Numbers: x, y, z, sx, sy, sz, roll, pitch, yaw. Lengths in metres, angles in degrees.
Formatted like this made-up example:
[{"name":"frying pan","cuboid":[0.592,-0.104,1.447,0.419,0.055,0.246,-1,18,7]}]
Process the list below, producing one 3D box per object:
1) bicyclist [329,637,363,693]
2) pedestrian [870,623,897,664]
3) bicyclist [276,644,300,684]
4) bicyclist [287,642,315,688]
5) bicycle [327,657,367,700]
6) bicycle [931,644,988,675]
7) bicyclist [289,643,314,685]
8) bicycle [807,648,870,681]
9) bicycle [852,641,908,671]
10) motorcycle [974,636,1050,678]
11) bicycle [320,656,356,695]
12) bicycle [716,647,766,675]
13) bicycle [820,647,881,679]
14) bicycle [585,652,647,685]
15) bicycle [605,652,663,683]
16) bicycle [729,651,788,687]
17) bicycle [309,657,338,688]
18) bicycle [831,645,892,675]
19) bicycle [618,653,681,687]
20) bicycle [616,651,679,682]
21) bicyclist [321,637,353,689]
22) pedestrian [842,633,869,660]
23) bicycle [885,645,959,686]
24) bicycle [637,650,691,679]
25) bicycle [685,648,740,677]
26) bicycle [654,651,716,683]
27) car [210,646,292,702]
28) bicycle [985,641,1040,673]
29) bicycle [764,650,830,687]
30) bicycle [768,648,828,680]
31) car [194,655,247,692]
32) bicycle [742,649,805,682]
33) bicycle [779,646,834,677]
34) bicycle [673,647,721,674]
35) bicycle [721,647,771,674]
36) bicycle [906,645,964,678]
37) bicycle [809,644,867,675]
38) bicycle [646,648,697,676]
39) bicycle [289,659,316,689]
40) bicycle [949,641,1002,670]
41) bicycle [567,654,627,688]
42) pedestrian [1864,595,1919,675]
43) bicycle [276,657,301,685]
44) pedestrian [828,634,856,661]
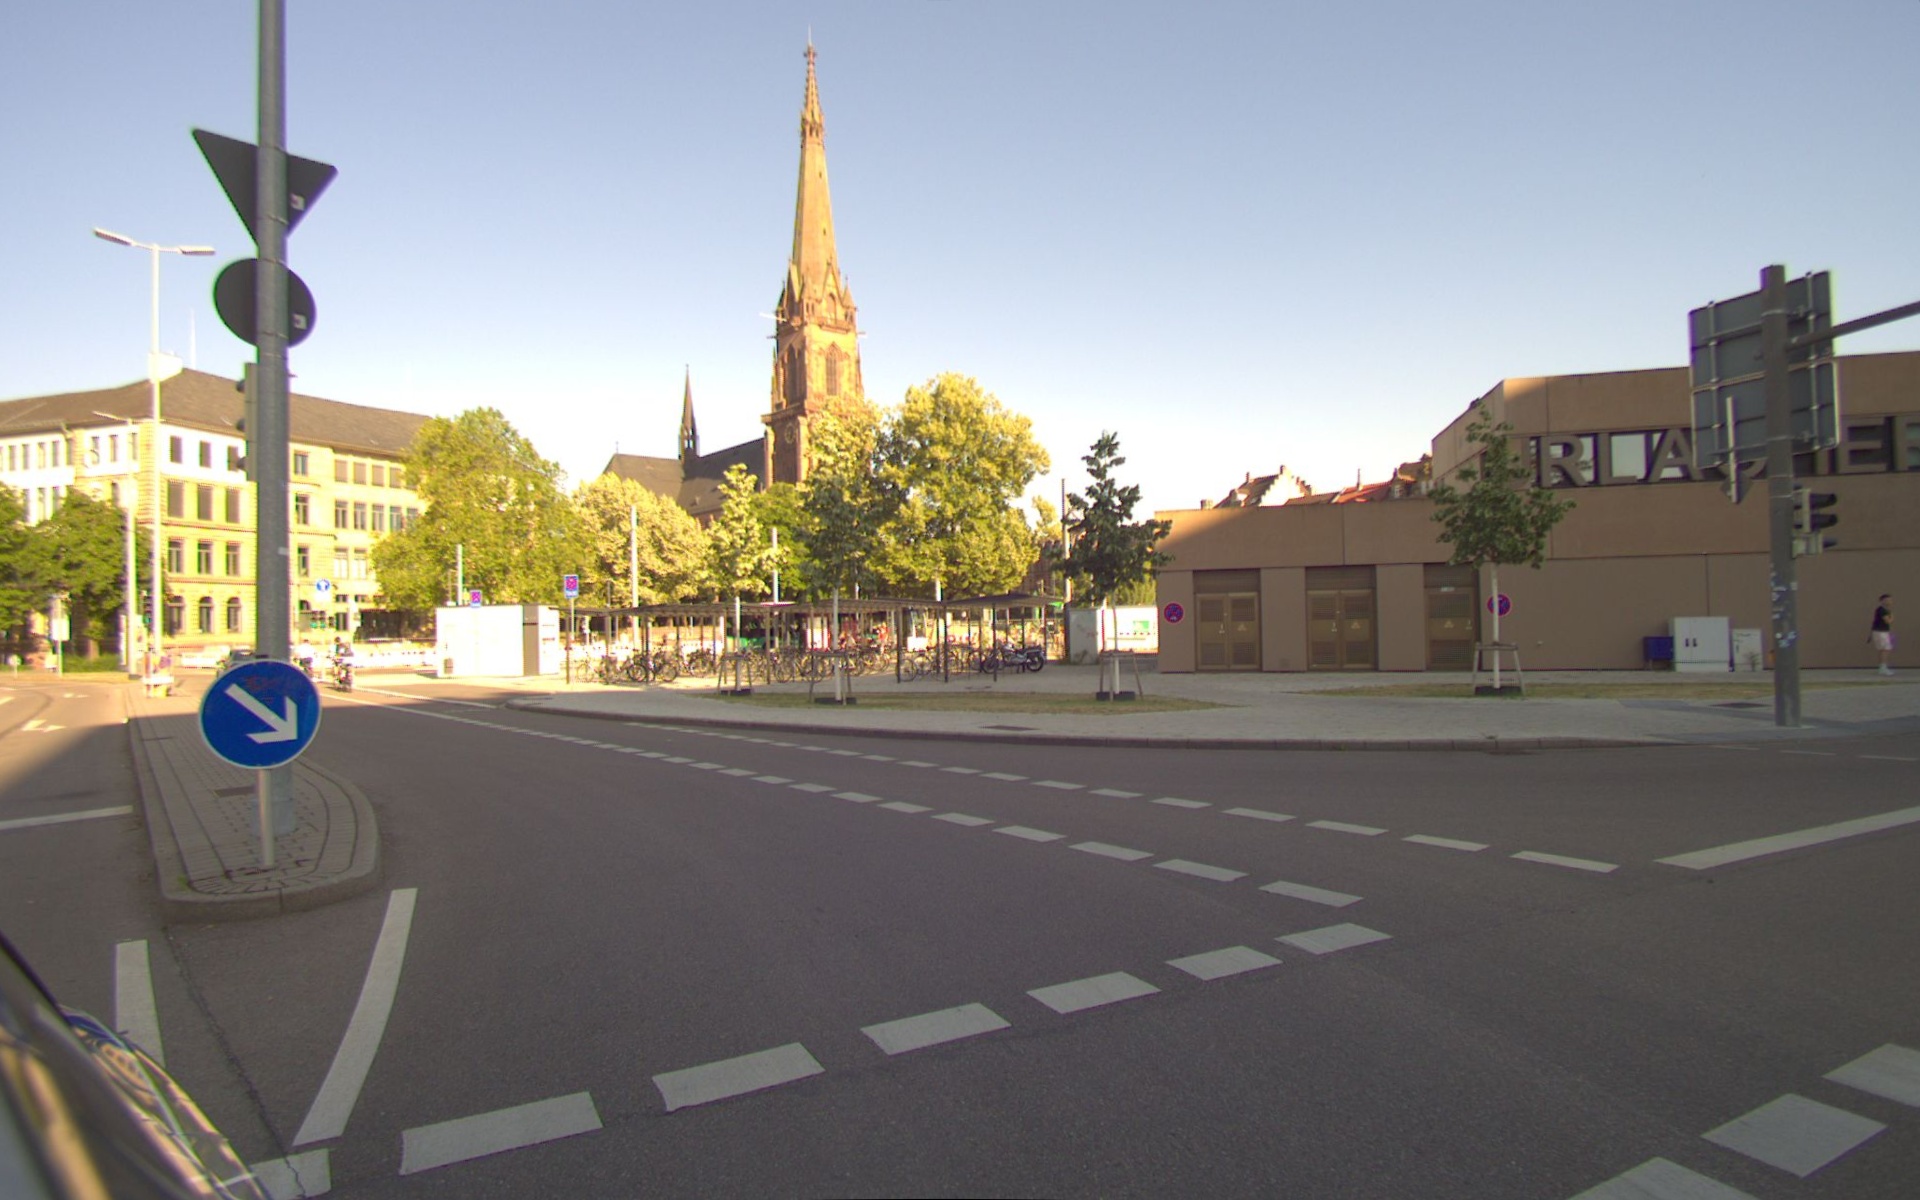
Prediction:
[{"name":"bicyclist","cuboid":[-19.184,2.013,31.597,0.753,1.681,1.064,-2,-1,-38]},{"name":"pedestrian","cuboid":[-3.954,2.249,52.375,1.021,2.029,1.129,-3,0,17]},{"name":"bicyclist","cuboid":[-28.924,2.741,43.576,0.852,1.666,0.947,0,-2,-34]},{"name":"bicyclist","cuboid":[-24.754,2.420,38.017,0.852,1.666,0.947,0,-2,-34]},{"name":"bicycle","cuboid":[-19.159,2.435,31.598,0.753,1.196,2.611,-2,0,-37]},{"name":"bicycle","cuboid":[-0.028,2.089,35.550,1.913,1.051,0.521,-1,0,14]},{"name":"bicyclist","cuboid":[-26.684,2.578,41.014,0.851,1.666,0.947,0,-2,-33]},{"name":"bicycle","cuboid":[-4.071,2.159,33.928,2.015,1.051,0.601,-1,0,15]},{"name":"bicycle","cuboid":[-3.068,2.135,38.852,2.051,1.097,0.564,-1,0,14]},{"name":"motorcycle","cuboid":[1.703,1.859,33.053,2.336,1.257,0.716,-3,0,17]},{"name":"bicycle","cuboid":[-21.029,2.535,34.177,0.753,1.196,2.611,-2,0,-37]},{"name":"bicycle","cuboid":[-8.692,2.419,40.200,1.956,1.062,0.416,-1,0,16]},{"name":"bicycle","cuboid":[-3.787,2.183,35.003,2.017,1.051,0.601,-1,0,18]},{"name":"bicycle","cuboid":[-11.870,2.357,34.935,2.004,1.062,0.679,-1,0,16]},{"name":"bicycle","cuboid":[-11.549,2.388,35.851,1.919,1.062,0.679,-1,0,16]},{"name":"bicycle","cuboid":[-6.424,2.197,32.322,1.780,1.114,0.484,-1,0,9]},{"name":"bicycle","cuboid":[-24.146,2.728,38.362,0.867,1.105,2.194,0,-2,-34]},{"name":"bicycle","cuboid":[-3.555,2.160,36.494,2.087,1.051,0.602,-1,0,13]},{"name":"bicycle","cuboid":[-10.227,2.300,33.357,1.953,1.062,0.565,-1,0,12]},{"name":"bicycle","cuboid":[-11.583,2.451,37.488,2.098,1.062,0.834,-1,0,13]},{"name":"bicyclist","cuboid":[-21.036,2.112,34.165,0.753,1.681,1.064,-2,-1,-38]},{"name":"pedestrian","cuboid":[-5.562,2.457,53.847,1.070,1.359,1.047,-3,0,17]},{"name":"bicycle","cuboid":[-1.139,1.974,30.547,2.102,1.114,0.742,-3,0,11]},{"name":"bicycle","cuboid":[-11.329,2.467,38.767,1.950,1.062,0.510,-1,0,8]},{"name":"bicycle","cuboid":[-9.317,2.363,38.159,1.953,1.062,0.565,-1,0,12]},{"name":"bicycle","cuboid":[-9.621,2.326,35.395,1.955,1.062,0.755,-1,0,15]},{"name":"car","cuboid":[-22.281,2.270,31.763,1.778,1.455,3.985,-1,0,-40]},{"name":"bicycle","cuboid":[1.833,1.978,35.020,1.828,1.051,0.521,-1,0,11]},{"name":"bicycle","cuboid":[-5.093,2.129,31.578,1.955,1.114,0.564,-1,0,15]},{"name":"bicycle","cuboid":[-5.708,2.248,35.695,1.912,1.051,0.764,-1,0,13]},{"name":"car","cuboid":[-29.752,2.923,40.669,1.363,1.348,3.508,0,-2,-42]},{"name":"bicycle","cuboid":[-6.332,2.225,34.369,1.912,1.051,0.863,-1,0,13]},{"name":"bicycle","cuboid":[-5.606,2.246,37.043,1.913,1.097,0.534,-1,0,14]},{"name":"bicycle","cuboid":[-10.634,2.443,40.916,1.956,1.062,0.416,-1,0,16]},{"name":"bicycle","cuboid":[-8.590,2.416,40.613,1.956,1.062,0.416,-1,0,16]},{"name":"bicycle","cuboid":[-0.809,2.026,33.264,1.828,1.051,0.521,-1,0,10]},{"name":"bicycle","cuboid":[-4.583,2.236,38.009,2.051,1.097,0.564,-1,0,14]},{"name":"bicycle","cuboid":[-11.559,2.486,40.580,1.952,1.062,0.496,-1,0,12]},{"name":"bicycle","cuboid":[-26.646,2.987,41.002,0.867,1.105,2.194,0,-2,-34]},{"name":"bicycle","cuboid":[0.584,2.069,37.756,1.913,1.051,0.521,-1,0,14]},{"name":"bicycle","cuboid":[-11.964,2.332,33.364,1.959,1.062,0.563,-1,0,20]},{"name":"pedestrian","cuboid":[20.813,0.773,22.556,0.658,1.744,0.733,-3,0,13]},{"name":"bicycle","cuboid":[-28.853,3.027,43.468,0.867,1.105,2.194,0,-2,-34]},{"name":"pedestrian","cuboid":[-6.140,2.467,52.747,1.070,1.359,1.047,-3,0,17]}]
